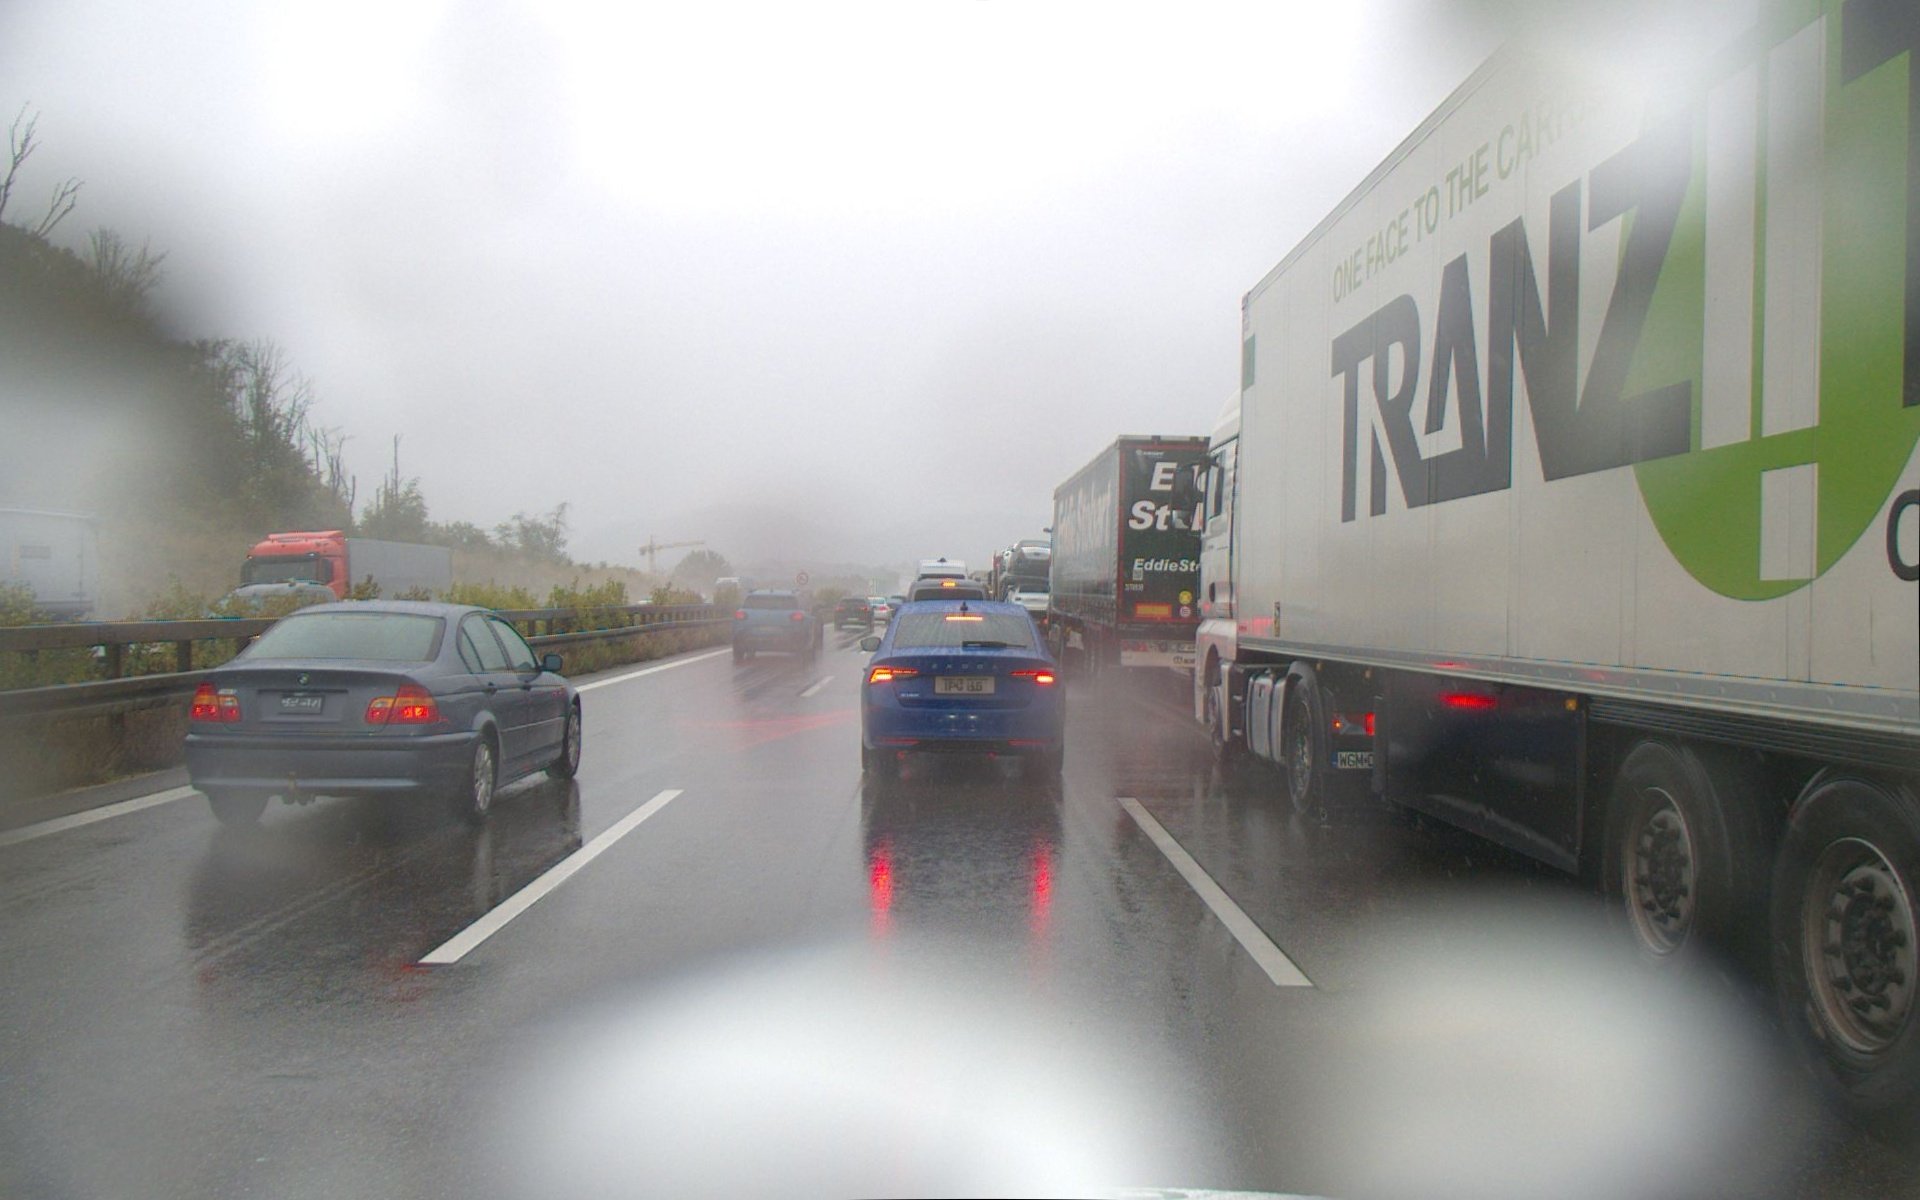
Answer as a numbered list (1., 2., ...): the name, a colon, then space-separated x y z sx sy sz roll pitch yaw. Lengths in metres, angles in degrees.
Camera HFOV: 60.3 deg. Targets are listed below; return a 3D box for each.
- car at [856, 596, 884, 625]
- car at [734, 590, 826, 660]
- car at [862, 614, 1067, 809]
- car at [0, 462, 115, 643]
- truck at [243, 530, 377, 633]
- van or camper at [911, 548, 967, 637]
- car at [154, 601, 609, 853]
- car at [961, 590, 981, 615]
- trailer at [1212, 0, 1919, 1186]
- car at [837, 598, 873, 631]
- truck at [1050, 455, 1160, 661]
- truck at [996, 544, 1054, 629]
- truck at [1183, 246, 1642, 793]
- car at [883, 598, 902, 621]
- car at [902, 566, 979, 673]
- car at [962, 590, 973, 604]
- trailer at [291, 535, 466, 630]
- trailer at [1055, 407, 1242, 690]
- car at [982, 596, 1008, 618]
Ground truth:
1. car: -5.020 0.596 92.977 1.410 1.560 3.321 1 0 -1
2. car: -4.172 0.542 38.928 1.686 1.550 4.000 0 0 0
3. car: 0.041 0.890 14.992 1.602 1.470 4.000 0 0 0
4. car: -20.782 -0.977 32.758 2.632 3.674 10.970 1 0 -1
5. truck: -21.349 -0.575 54.547 2.632 3.207 4.604 1 0 -1
6. van or camper: -0.687 -0.260 55.373 1.761 2.855 4.767 1 0 -1
7. car: -3.789 0.734 11.662 1.683 1.424 4.230 1 0 0
8. car: 0.810 0.161 124.715 1.419 1.815 3.409 1 0 -1
9. trailer: 3.634 -0.619 7.510 2.577 4.083 14.627 1 0 -1
10. car: -4.781 0.661 75.605 1.410 1.445 3.321 1 0 -1
11. truck: 3.131 -0.892 36.509 2.005 4.266 4.000 1 0 -1
12. truck: 2.751 -0.617 71.877 1.953 3.481 8.030 1 1 -2
13. truck: 3.569 -0.592 14.250 2.577 3.894 4.790 1 0 -1
14. car: -5.476 0.778 135.106 1.419 1.815 3.409 1 0 -1
15. car: -0.349 0.311 29.818 1.309 1.811 3.321 1 0 -1
16. car: 0.950 -0.359 215.814 1.419 1.815 3.409 1 0 -1
17. trailer: -21.410 -0.589 61.773 2.631 3.207 11.083 1 0 0
18. trailer: 3.175 -0.823 30.677 2.005 4.249 11.447 1 0 -1
19. car: 2.285 0.442 108.528 1.605 1.351 3.366 1 1 -1
